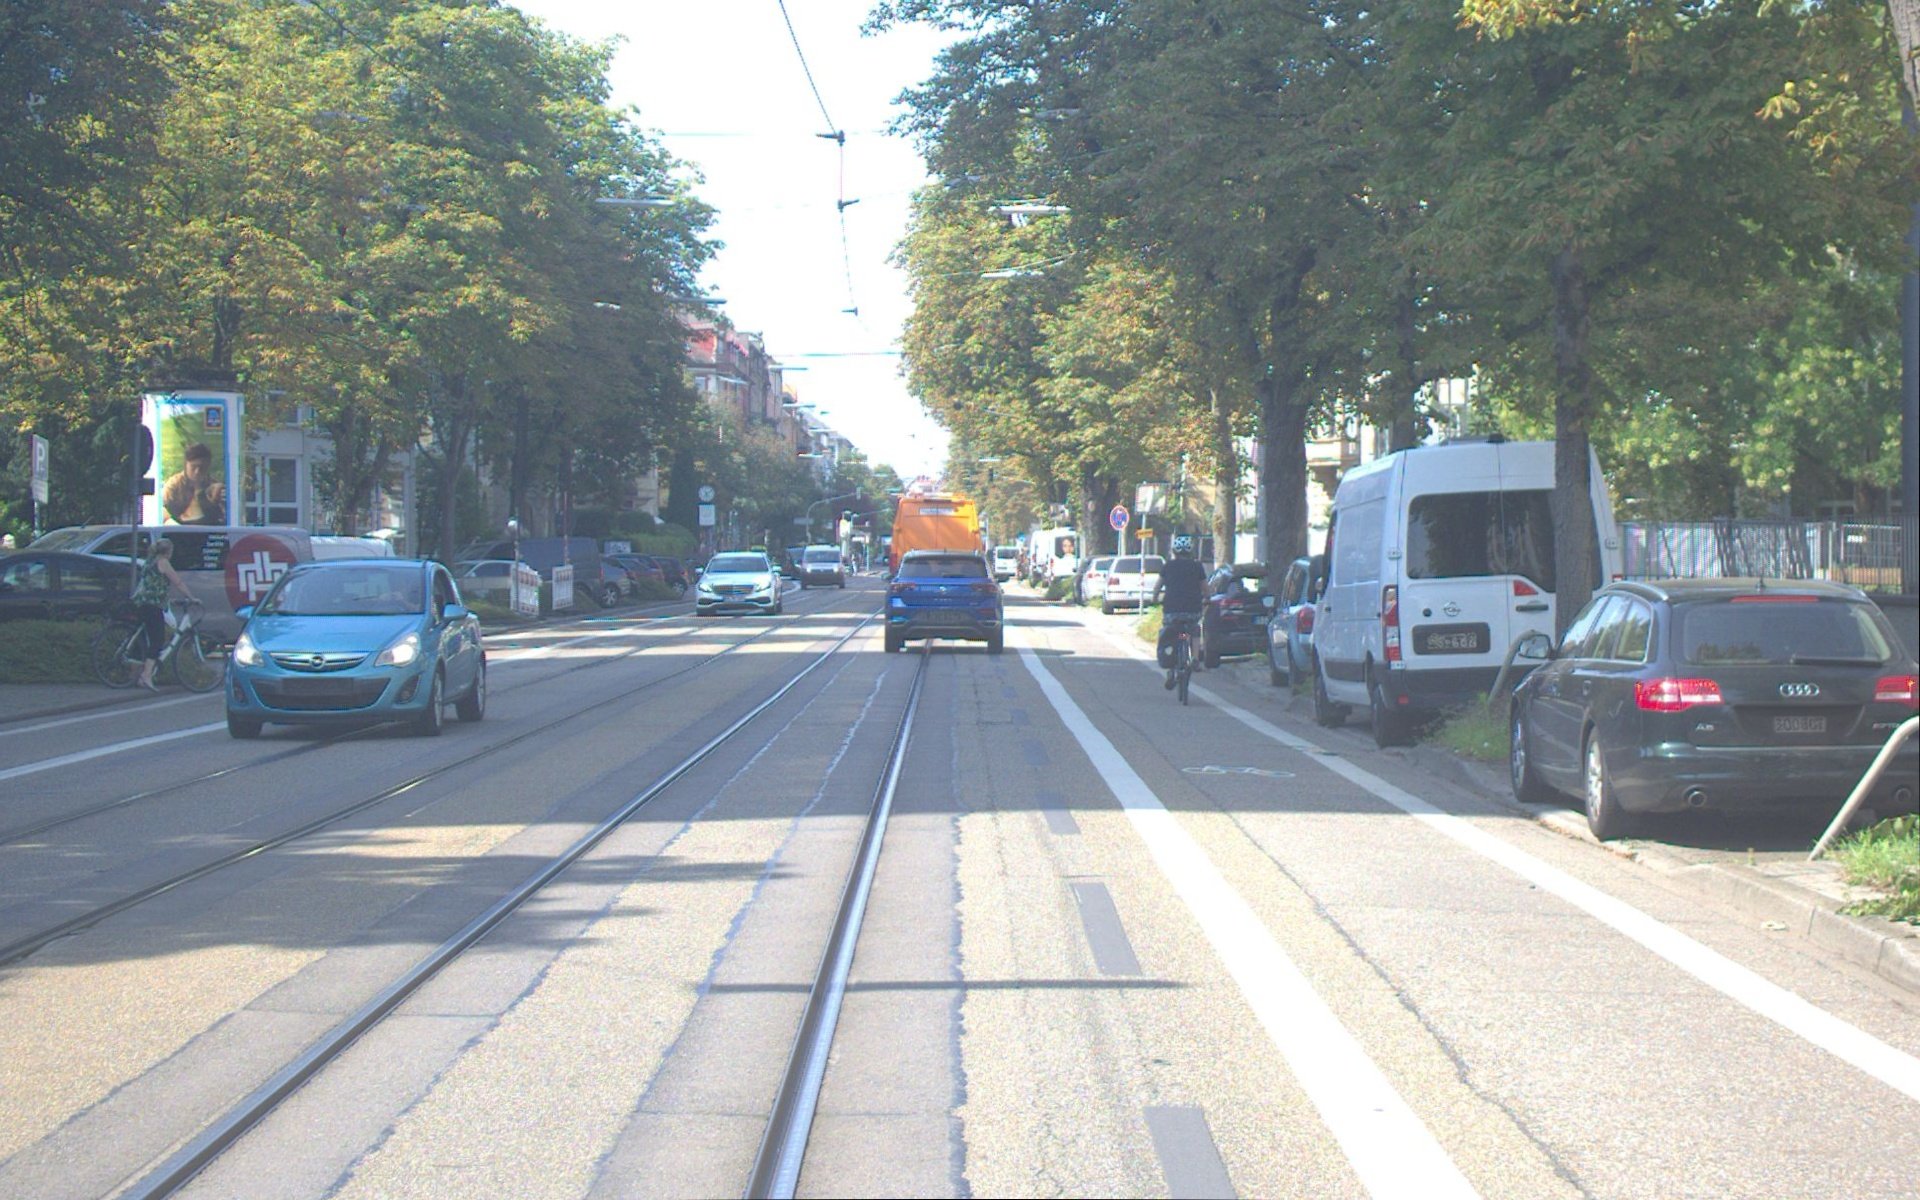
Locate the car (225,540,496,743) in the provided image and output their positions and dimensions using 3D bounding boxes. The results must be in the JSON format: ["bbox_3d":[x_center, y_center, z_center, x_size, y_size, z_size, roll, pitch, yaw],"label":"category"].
[{"bbox_3d":[-5.003,0.290,29.172,1.633,1.579,4.189,0,1,-1],"label":"car"}]

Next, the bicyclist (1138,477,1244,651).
[{"bbox_3d":[2.421,-0.383,36.150,1.031,1.806,1.016,0,1,0],"label":"bicyclist"}]

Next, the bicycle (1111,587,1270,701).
[{"bbox_3d":[2.383,0.453,36.177,1.401,1.130,4.000,0,0,0],"label":"bicycle"}]

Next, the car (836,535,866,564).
[{"bbox_3d":[-6.752,-3.153,213.237,1.747,1.790,4.000,0,1,-1],"label":"car"}]

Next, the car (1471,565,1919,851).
[{"bbox_3d":[4.275,0.539,19.907,1.908,1.427,4.293,0,1,-1],"label":"car"}]

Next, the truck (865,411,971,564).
[{"bbox_3d":[-0.848,-2.356,73.501,2.135,3.113,6.085,-1,1,0],"label":"truck"}]

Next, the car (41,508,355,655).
[{"bbox_3d":[-10.886,-0.282,49.231,3.989,2.007,1.856,0,1,-43],"label":"car"}]

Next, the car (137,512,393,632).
[{"bbox_3d":[-12.082,-0.499,59.910,3.989,2.007,1.856,0,1,-43],"label":"car"}]

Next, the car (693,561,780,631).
[{"bbox_3d":[-5.261,-0.117,81.356,1.898,1.556,4.123,0,1,-1],"label":"car"}]

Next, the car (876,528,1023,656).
[{"bbox_3d":[-0.147,-0.168,53.173,2.135,1.852,5.568,-1,1,0],"label":"car"}]

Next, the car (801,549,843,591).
[{"bbox_3d":[-5.659,-1.246,141.551,1.627,1.699,4.000,0,1,-1],"label":"car"}]

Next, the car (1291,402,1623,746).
[{"bbox_3d":[4.268,-0.264,30.489,1.993,2.746,5.762,0,1,-1],"label":"car"}]
